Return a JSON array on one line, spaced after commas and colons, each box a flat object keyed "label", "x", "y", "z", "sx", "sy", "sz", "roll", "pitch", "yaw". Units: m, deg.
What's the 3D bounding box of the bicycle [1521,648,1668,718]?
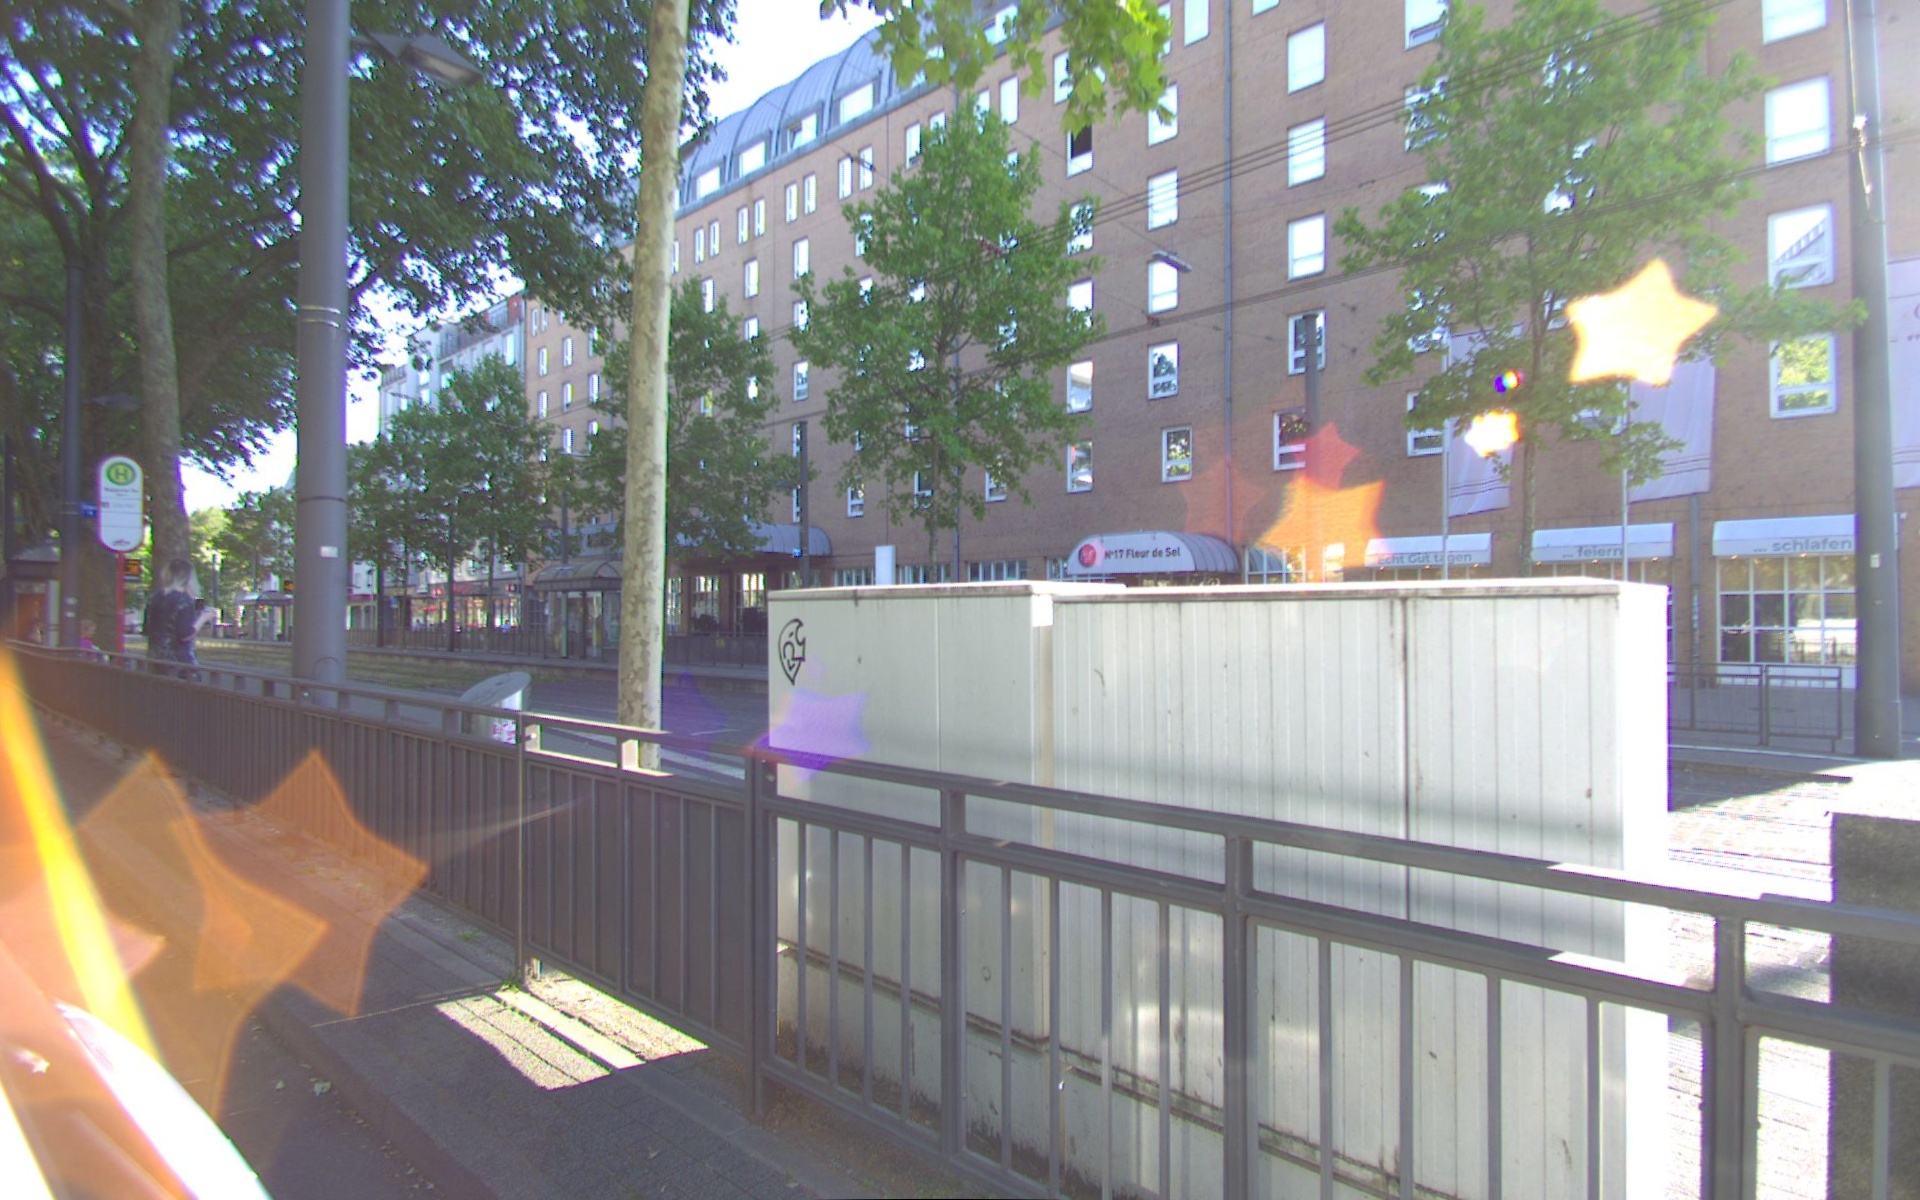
[{"label": "bicycle", "x": 11.133, "y": 1.460, "z": 17.817, "sx": 2.105, "sy": 1.151, "sz": 0.679, "roll": -4, "pitch": -4, "yaw": 34}]

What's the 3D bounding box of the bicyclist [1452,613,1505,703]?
[{"label": "bicyclist", "x": 9.296, "y": 1.026, "z": 18.134, "sx": 0.756, "sy": 1.581, "sz": 0.655, "roll": -1, "pitch": -2, "yaw": 34}]

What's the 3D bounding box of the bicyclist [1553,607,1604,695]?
[{"label": "bicyclist", "x": 11.390, "y": 0.929, "z": 18.622, "sx": 0.756, "sy": 1.586, "sz": 0.655, "roll": -1, "pitch": -2, "yaw": 34}]

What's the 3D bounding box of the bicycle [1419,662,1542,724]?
[{"label": "bicycle", "x": 9.305, "y": 1.635, "z": 18.125, "sx": 1.897, "sy": 1.006, "sz": 0.688, "roll": -1, "pitch": -2, "yaw": 34}]

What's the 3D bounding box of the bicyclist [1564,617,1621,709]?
[{"label": "bicyclist", "x": 11.131, "y": 1.101, "z": 17.821, "sx": 0.756, "sy": 1.572, "sz": 0.676, "roll": -4, "pitch": -4, "yaw": 33}]

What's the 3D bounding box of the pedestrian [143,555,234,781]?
[{"label": "pedestrian", "x": -6.601, "y": 0.553, "z": 8.657, "sx": 0.524, "sy": 1.848, "sz": 0.535, "roll": -1, "pitch": 0, "yaw": 44}]

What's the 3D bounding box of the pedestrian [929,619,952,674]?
[{"label": "pedestrian", "x": -0.621, "y": 1.474, "z": 32.233, "sx": 0.472, "sy": 1.748, "sz": 0.545, "roll": 1, "pitch": -2, "yaw": -42}]

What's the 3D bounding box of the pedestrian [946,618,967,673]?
[{"label": "pedestrian", "x": -0.122, "y": 1.462, "z": 32.636, "sx": 0.437, "sy": 1.748, "sz": 0.545, "roll": 1, "pitch": -2, "yaw": -42}]

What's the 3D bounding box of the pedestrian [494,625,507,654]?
[{"label": "pedestrian", "x": -28.108, "y": 2.421, "z": 61.916, "sx": 0.574, "sy": 1.748, "sz": 0.497, "roll": -2, "pitch": -2, "yaw": 43}]

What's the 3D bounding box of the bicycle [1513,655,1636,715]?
[{"label": "bicycle", "x": 11.314, "y": 1.540, "z": 18.651, "sx": 1.897, "sy": 1.006, "sz": 0.647, "roll": -1, "pitch": -2, "yaw": 34}]

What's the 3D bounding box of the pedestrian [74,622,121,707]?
[{"label": "pedestrian", "x": -13.900, "y": 1.025, "z": 16.321, "sx": 0.534, "sy": 1.327, "sz": 0.525, "roll": -1, "pitch": 0, "yaw": -37}]
